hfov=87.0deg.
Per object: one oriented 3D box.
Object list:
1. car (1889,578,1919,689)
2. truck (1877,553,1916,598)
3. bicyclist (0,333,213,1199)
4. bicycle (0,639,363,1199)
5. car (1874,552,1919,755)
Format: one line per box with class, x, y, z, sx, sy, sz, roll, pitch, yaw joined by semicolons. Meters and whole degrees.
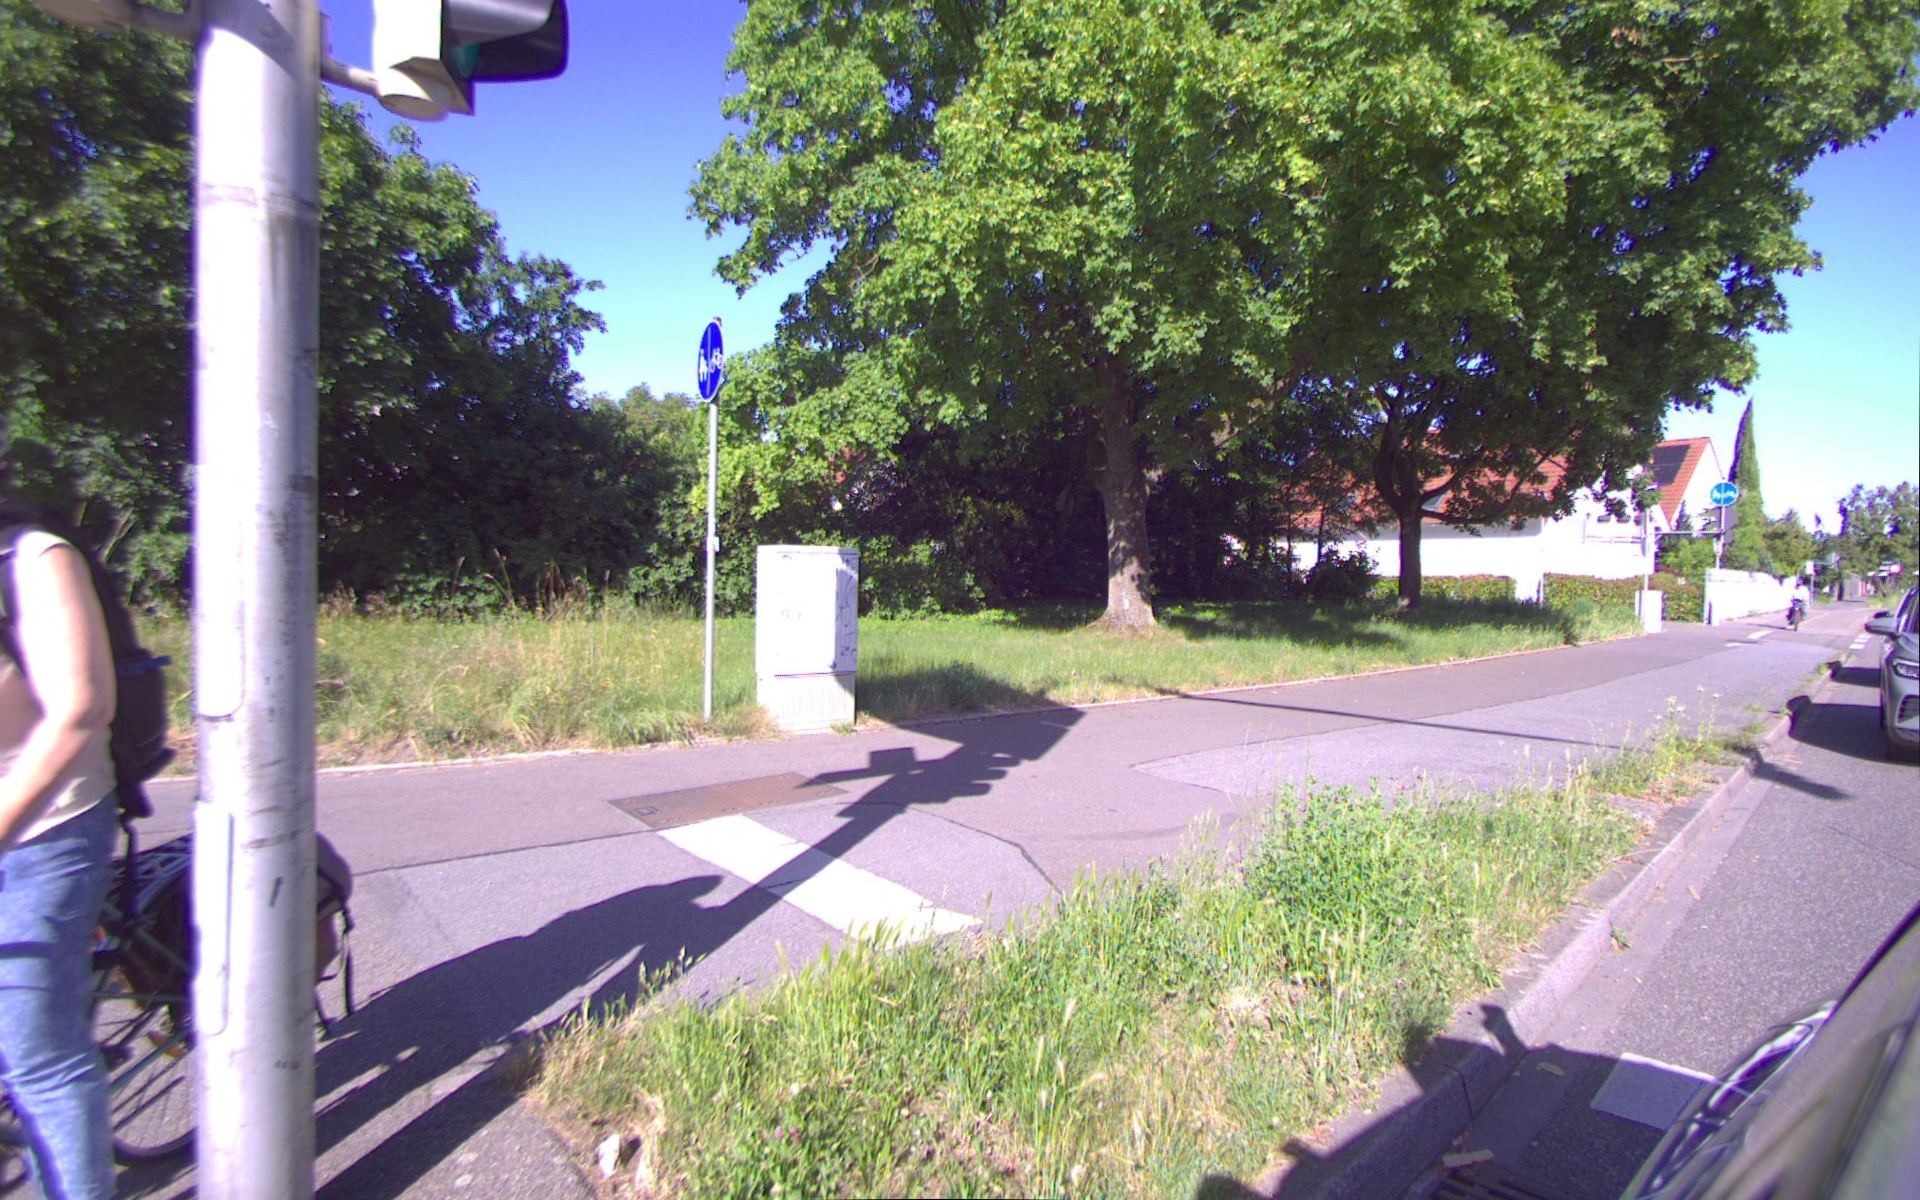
car;15.502;0.443;15.577;1.687;1.593;4.056;-1;0;44
truck;68.185;-1.758;73.653;1.993;3.115;5.717;-1;0;43
bicyclist;-1.839;0.413;1.804;0.516;1.716;0.587;-1;4;-6
bicycle;-1.828;0.733;1.830;0.520;1.089;1.874;-1;5;-6
car;9.882;0.404;9.264;4.294;1.661;1.988;-1;0;-45
